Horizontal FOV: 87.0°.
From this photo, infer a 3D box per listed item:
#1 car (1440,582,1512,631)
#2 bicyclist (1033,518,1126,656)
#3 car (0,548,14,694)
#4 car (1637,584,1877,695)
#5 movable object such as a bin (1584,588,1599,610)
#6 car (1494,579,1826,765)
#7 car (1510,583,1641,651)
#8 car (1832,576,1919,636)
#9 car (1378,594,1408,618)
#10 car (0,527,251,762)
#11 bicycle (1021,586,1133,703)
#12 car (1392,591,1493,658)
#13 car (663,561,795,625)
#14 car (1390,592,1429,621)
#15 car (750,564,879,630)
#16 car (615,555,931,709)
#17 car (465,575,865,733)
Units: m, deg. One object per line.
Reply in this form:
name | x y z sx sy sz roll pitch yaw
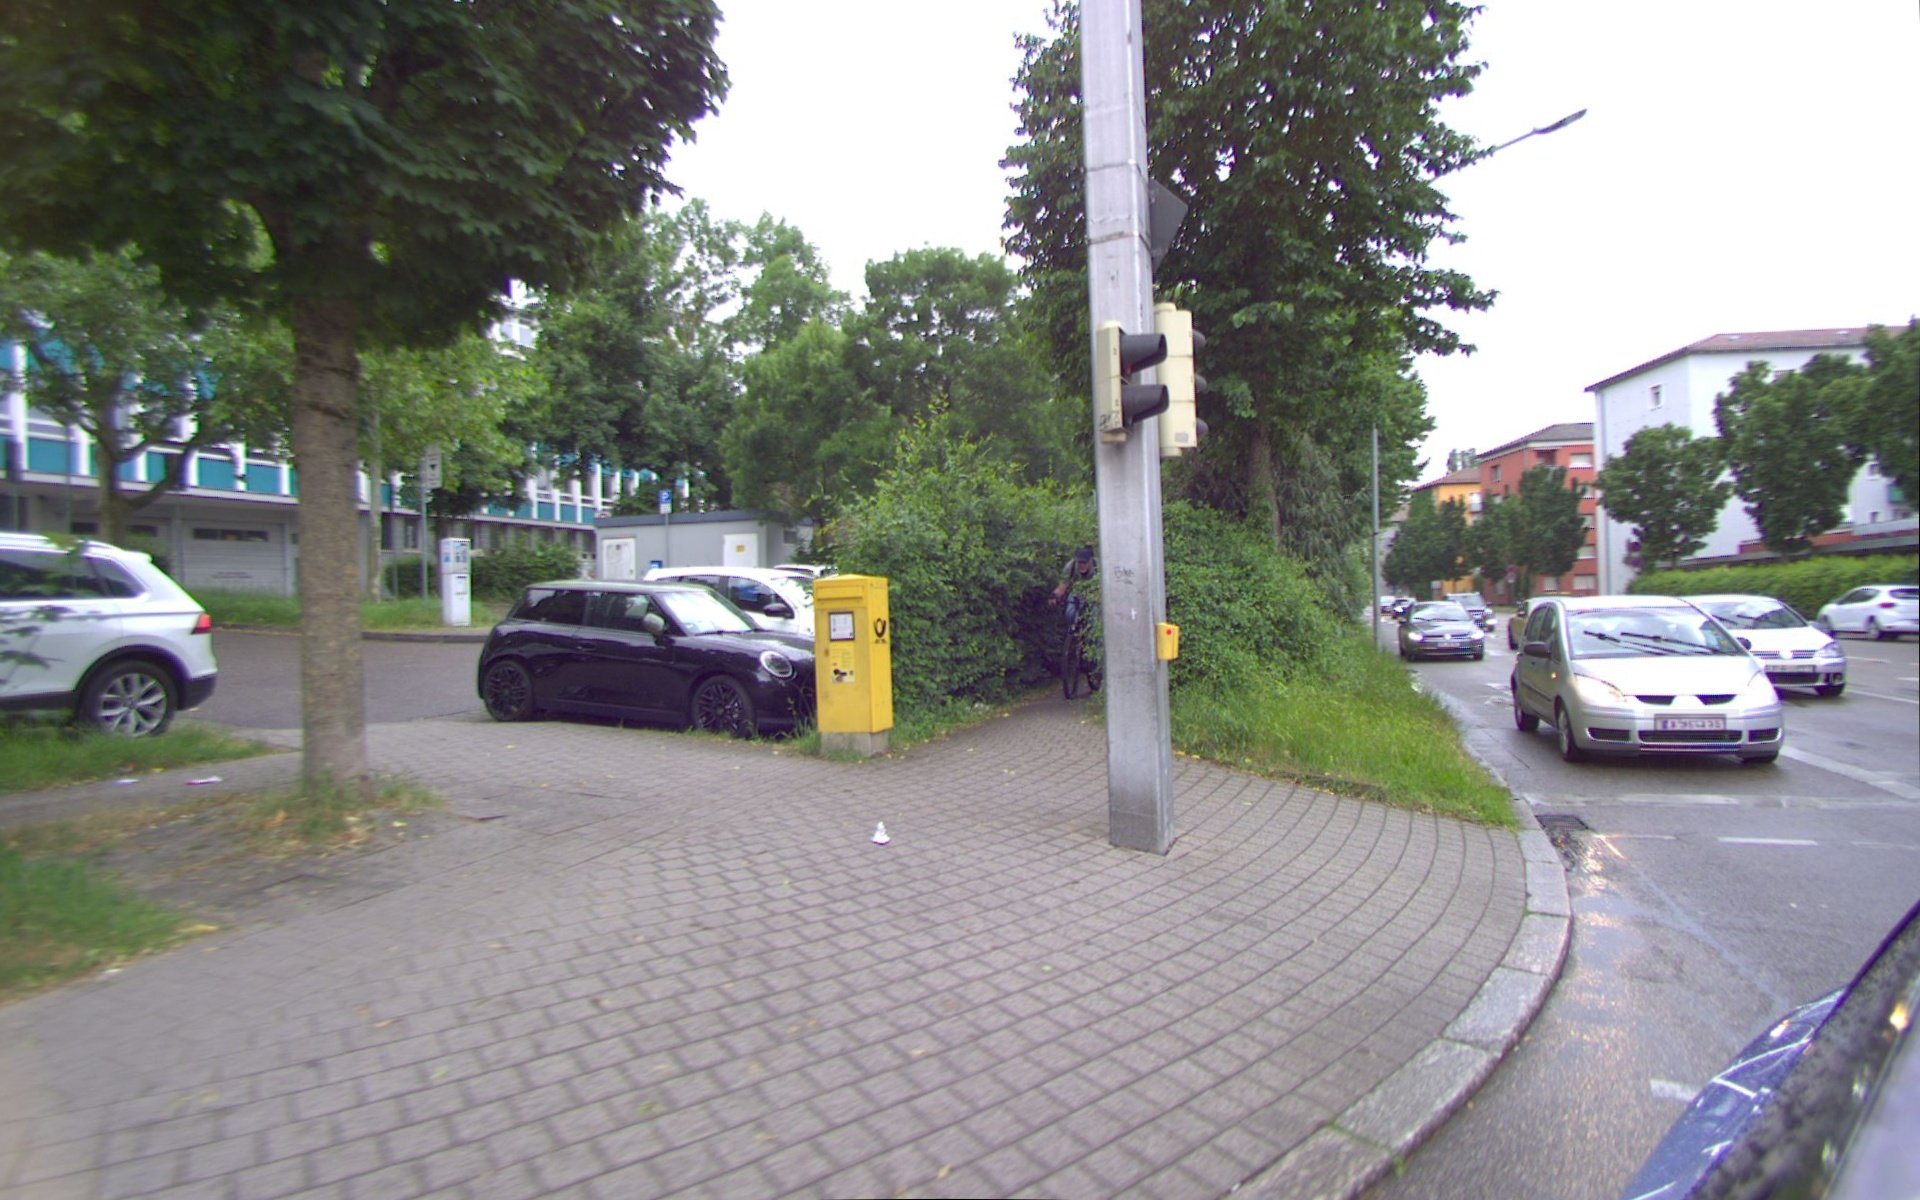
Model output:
car | 21.644 0.219 42.654 1.966 1.729 4.552 -7 -1 20
bicyclist | 1.388 -0.146 11.675 0.877 1.508 0.963 -1 1 19
car | -12.105 0.218 9.707 1.614 1.642 4.190 2 1 16
car | 11.911 0.511 15.456 1.667 1.442 4.010 -1 0 20
movable object such as a bin | 43.983 -0.075 70.500 0.783 1.520 0.806 0 0 39
car | 6.875 0.633 10.440 1.665 1.524 3.817 -3 -1 18
car | 16.198 0.399 26.885 1.966 1.459 4.552 -6 -1 20
car | 25.657 0.136 27.574 1.630 1.538 3.694 1 1 20
car | 36.772 0.488 86.024 1.966 1.729 4.552 -7 -1 20
car | -7.536 0.286 7.024 1.614 1.642 4.190 2 1 16
bicycle | 1.401 0.451 11.694 0.877 1.202 2.121 -1 1 18
car | 12.465 0.610 26.390 1.665 1.524 4.476 -4 -1 17
car | -6.335 -0.225 28.219 1.777 1.630 3.976 0 1 19
car | 31.215 0.406 70.367 1.966 1.729 4.552 -7 -1 20
car | -3.762 -0.117 26.861 1.777 1.630 3.976 0 1 19
car | -2.355 0.343 12.753 3.661 1.718 1.624 0 0 24
car | -2.961 0.459 10.257 3.655 1.382 1.627 0 0 20
